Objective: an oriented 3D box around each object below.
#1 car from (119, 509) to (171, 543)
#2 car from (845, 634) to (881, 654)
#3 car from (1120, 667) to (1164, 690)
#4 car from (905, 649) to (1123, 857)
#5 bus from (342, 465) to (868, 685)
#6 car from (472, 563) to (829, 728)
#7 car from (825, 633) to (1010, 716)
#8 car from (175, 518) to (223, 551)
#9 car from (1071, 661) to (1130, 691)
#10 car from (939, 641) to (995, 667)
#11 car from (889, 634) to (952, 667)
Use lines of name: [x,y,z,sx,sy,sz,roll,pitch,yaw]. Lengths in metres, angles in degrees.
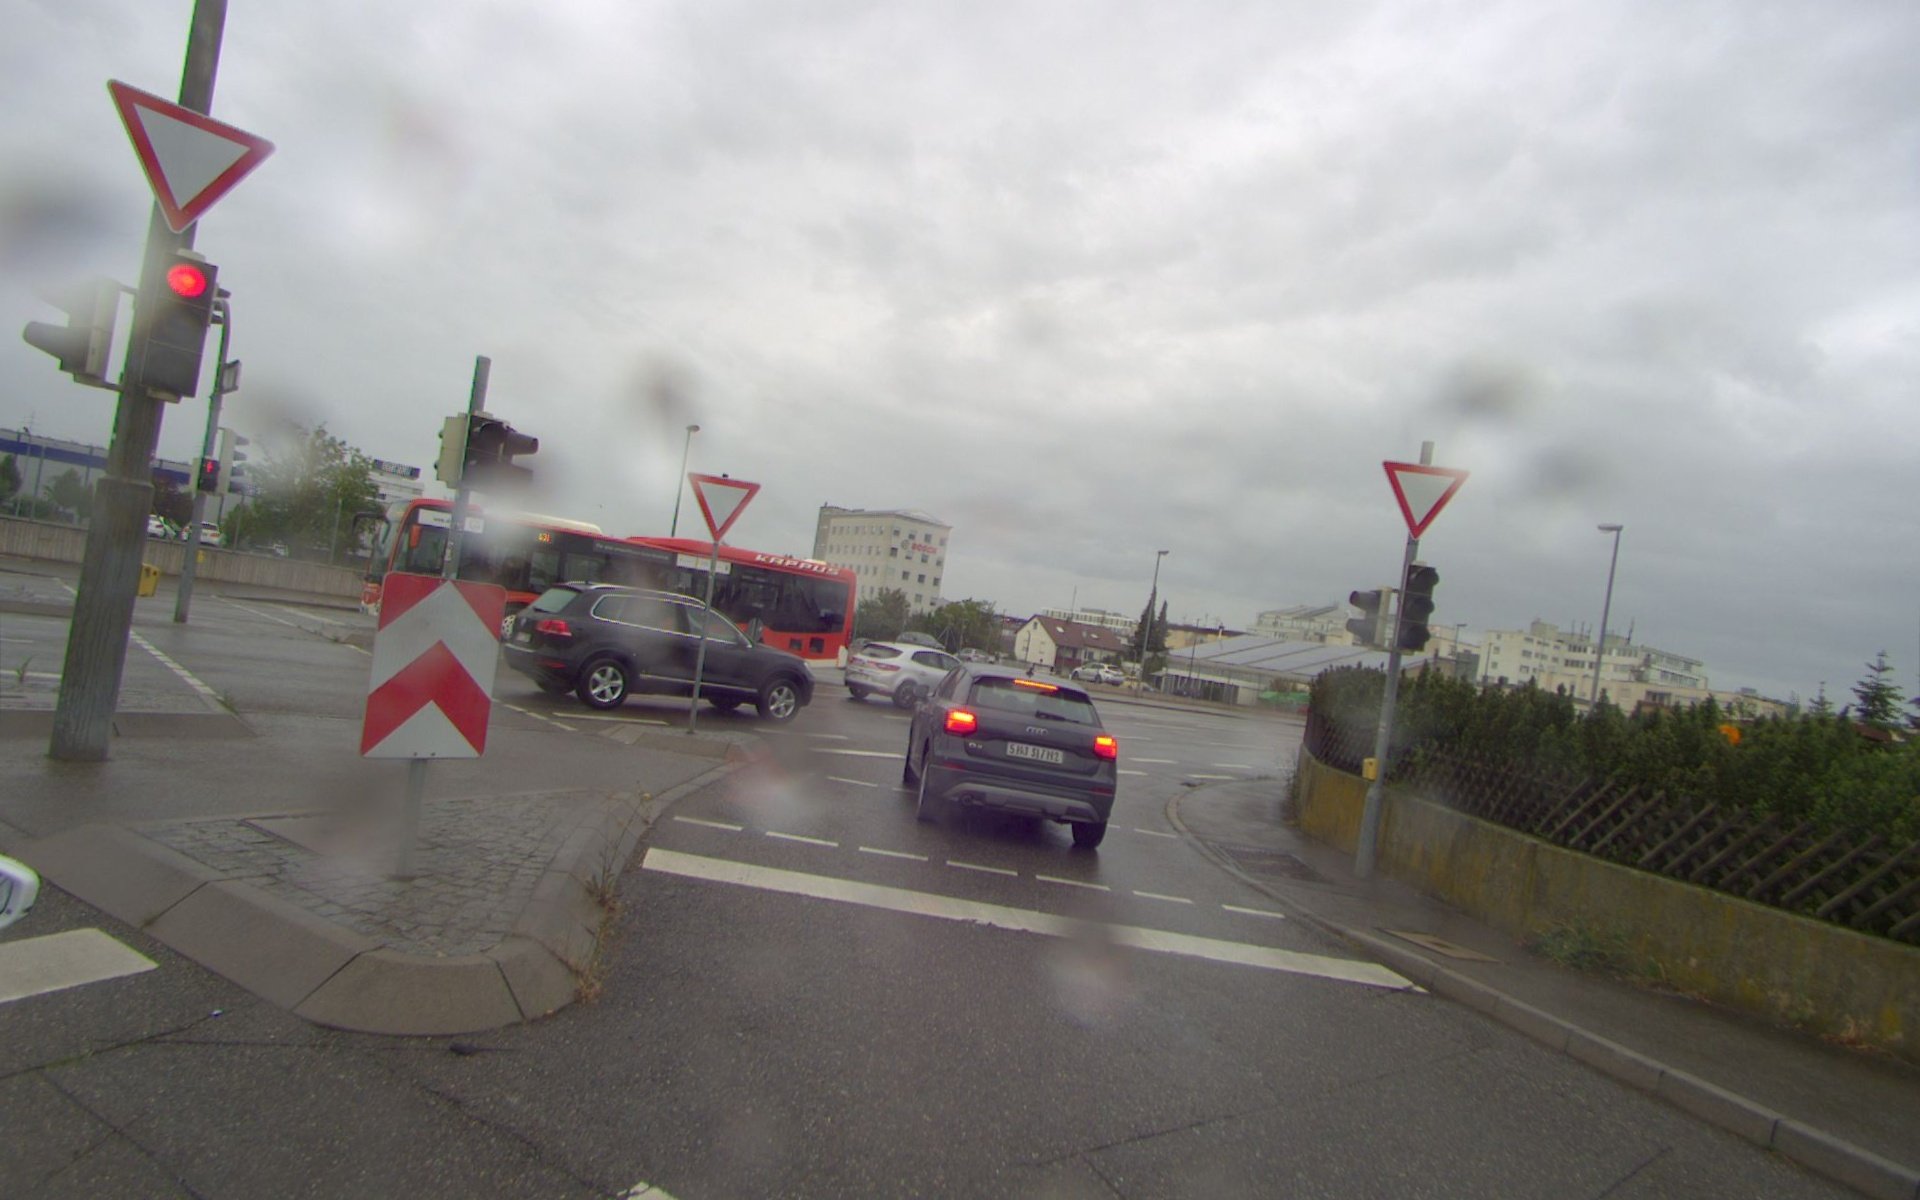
car: [-45.615,-4.127,56.357,1.985,1.495,3.959,10,-2,-38]
car: [-9.691,4.392,100.463,1.979,1.494,3.971,9,-2,-29]
car: [18.122,7.830,100.103,3.760,1.771,1.887,9,-2,-29]
car: [0.360,1.421,10.562,1.659,1.510,3.942,10,-4,-3]
bus: [-8.358,-0.276,25.849,12.246,3.357,3.039,12,-3,-41]
car: [-4.503,0.755,15.156,4.590,1.720,1.975,12,-4,-44]
car: [-0.952,1.822,24.211,4.131,1.432,1.903,11,-3,-44]
car: [-43.896,-3.801,58.024,1.986,1.495,3.958,10,-2,-38]
car: [9.738,5.256,70.047,1.979,1.494,3.971,9,-2,-29]
car: [0.546,4.377,82.219,3.951,1.494,1.989,9,-2,-24]
car: [-2.472,3.093,61.950,1.983,1.494,3.964,10,-2,-34]
